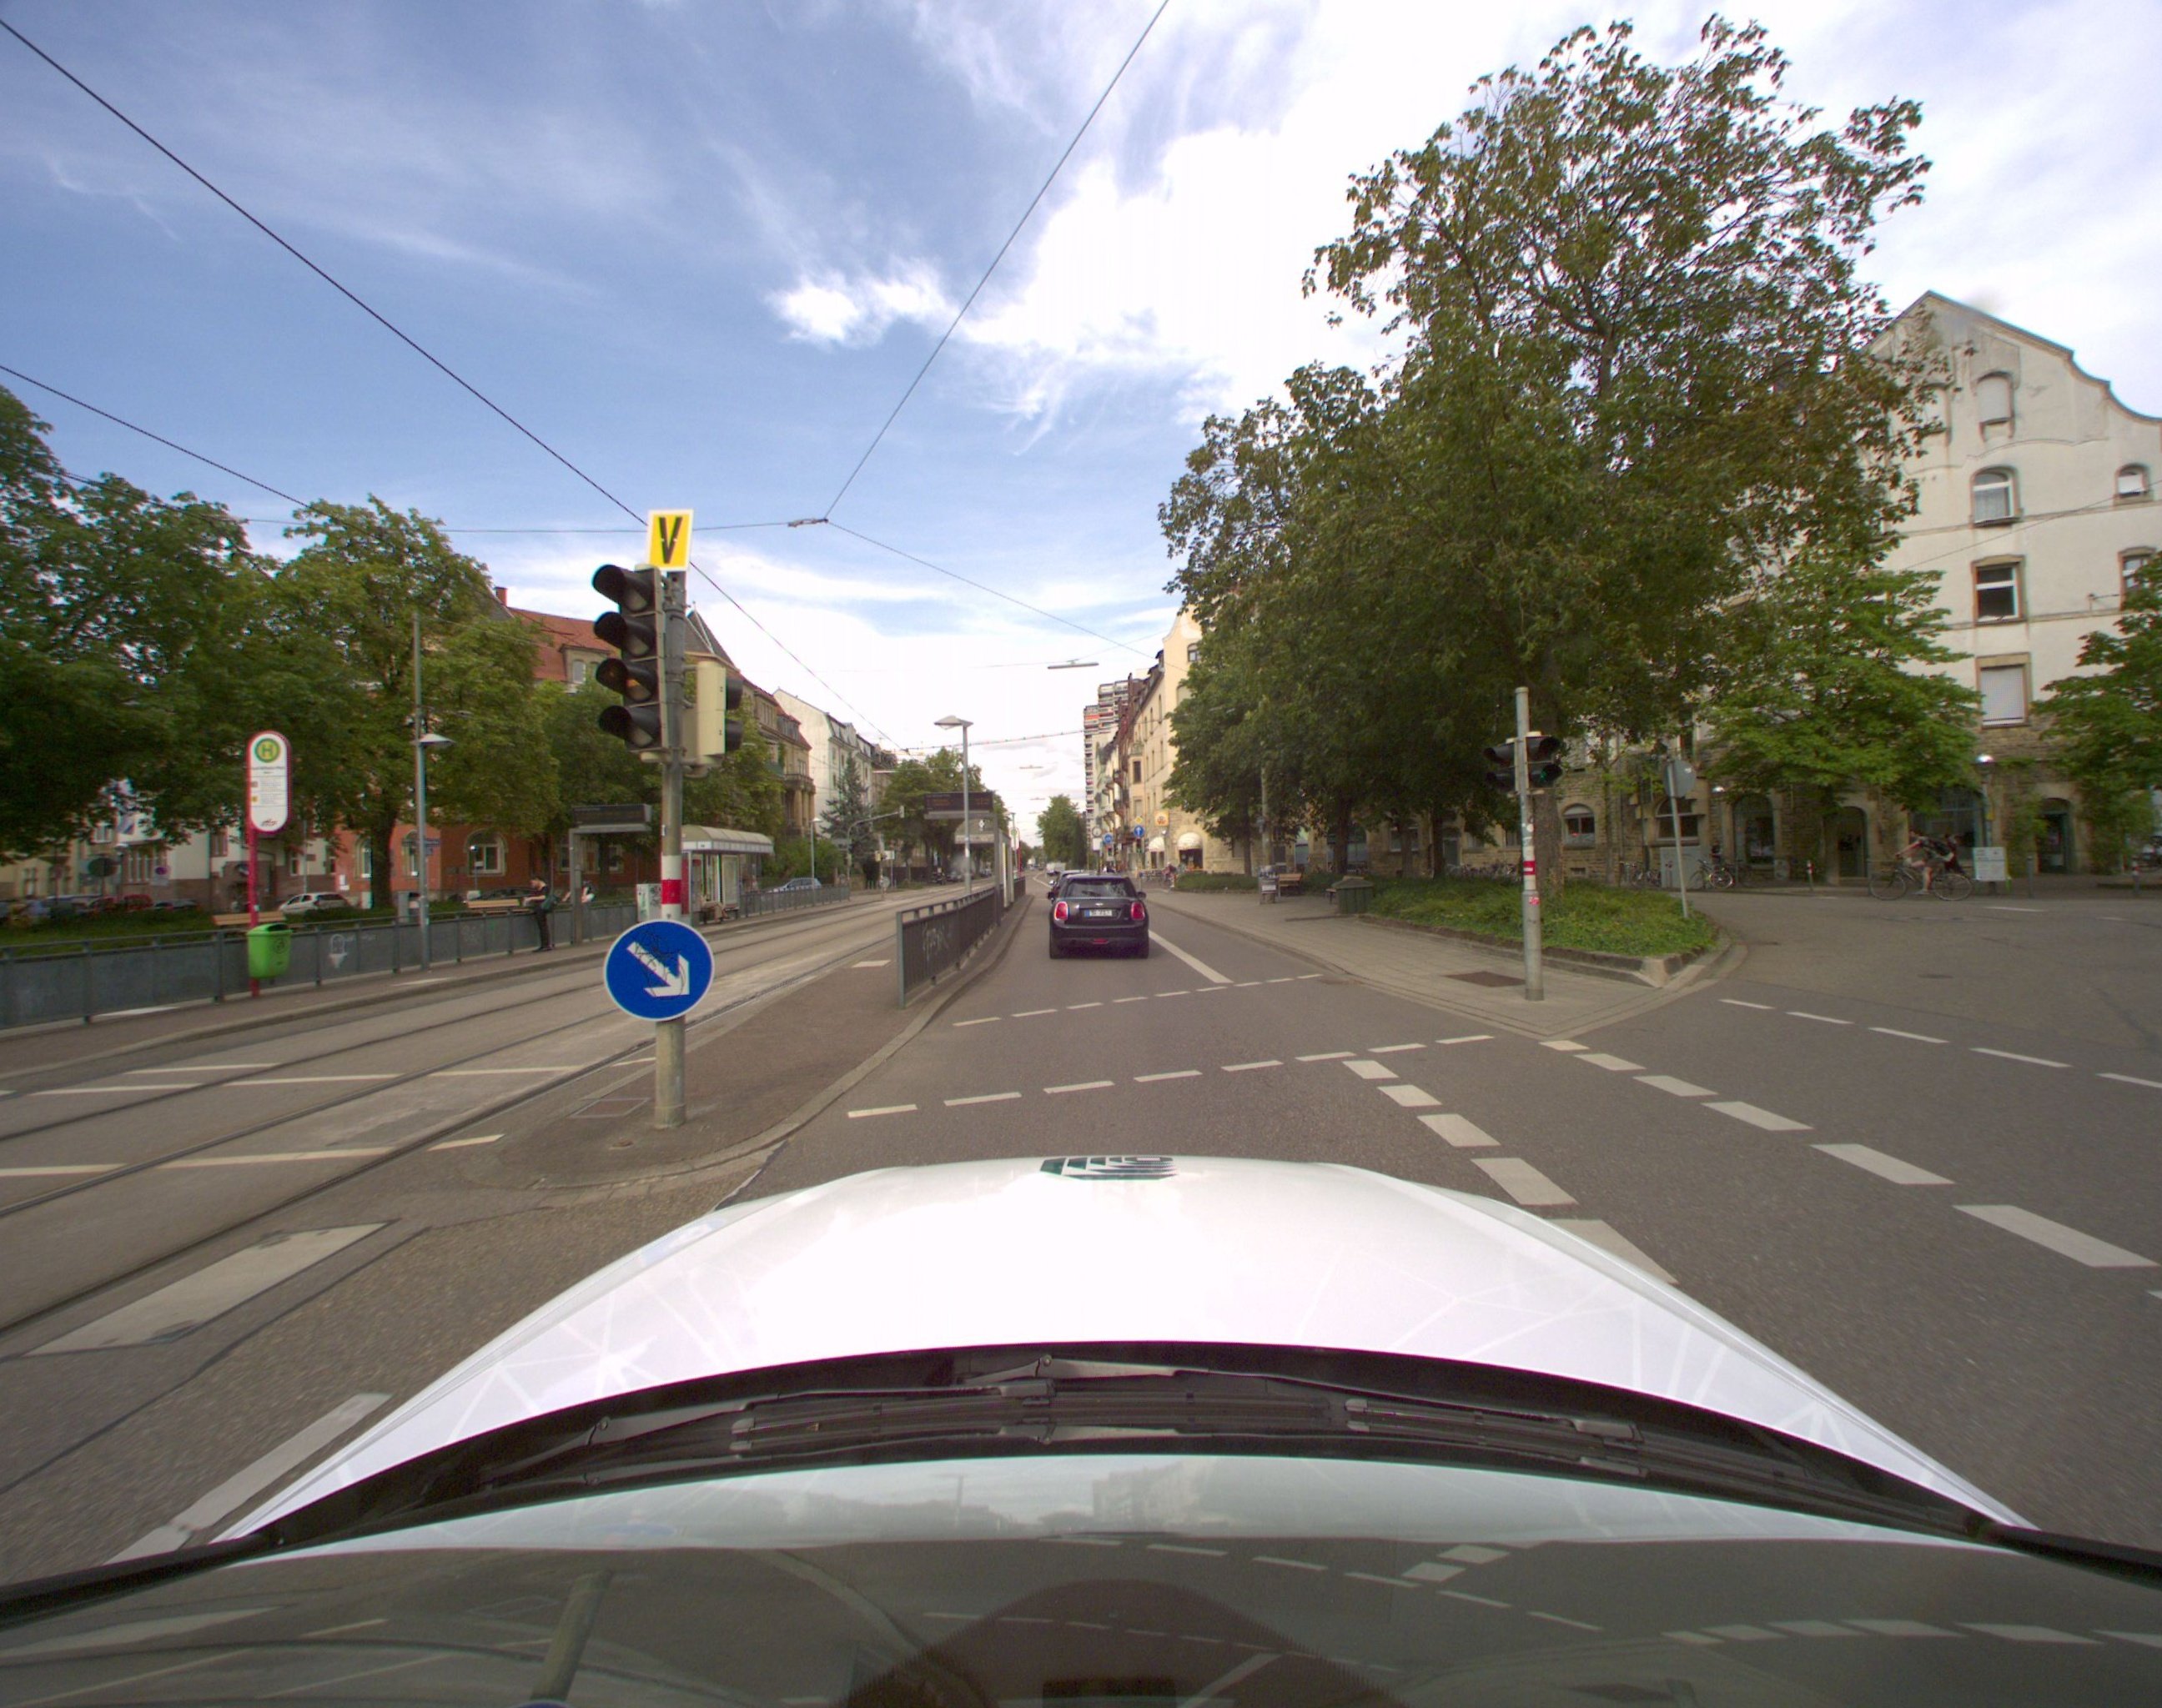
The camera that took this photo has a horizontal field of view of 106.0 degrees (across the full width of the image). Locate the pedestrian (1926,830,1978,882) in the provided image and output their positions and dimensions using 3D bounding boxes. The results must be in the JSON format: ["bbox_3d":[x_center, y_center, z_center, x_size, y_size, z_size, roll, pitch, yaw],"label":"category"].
[{"bbox_3d":[28.117,0.074,26.295,0.826,1.623,0.736,-2,-1,17],"label":"pedestrian"}]

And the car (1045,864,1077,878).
[{"bbox_3d":[-3.440,2.975,140.335,5.067,2.273,2.368,-1,-2,-43],"label":"car"}]

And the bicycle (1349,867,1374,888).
[{"bbox_3d":[15.672,1.291,45.434,0.659,1.128,1.905,-3,-2,40],"label":"bicycle"}]

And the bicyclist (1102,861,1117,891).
[{"bbox_3d":[1.463,1.143,42.462,0.682,1.564,0.998,-2,-1,0],"label":"bicyclist"}]

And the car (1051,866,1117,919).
[{"bbox_3d":[0.094,1.194,26.278,1.921,1.510,3.999,-2,-1,0],"label":"car"}]

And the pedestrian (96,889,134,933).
[{"bbox_3d":[-39.620,2.334,33.414,0.745,1.754,0.736,-3,-1,16],"label":"pedestrian"}]

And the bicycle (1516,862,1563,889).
[{"bbox_3d":[20.870,0.983,37.056,1.885,1.128,0.531,-2,-1,-6],"label":"bicycle"}]

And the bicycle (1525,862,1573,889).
[{"bbox_3d":[20.972,0.974,36.475,1.885,1.128,0.531,-2,-1,-6],"label":"bicycle"}]

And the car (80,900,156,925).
[{"bbox_3d":[-60.496,3.665,51.140,3.953,1.395,1.825,-3,-2,20],"label":"car"}]

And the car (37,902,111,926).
[{"bbox_3d":[-65.200,3.891,52.738,3.953,1.395,1.825,-3,-2,20],"label":"car"}]

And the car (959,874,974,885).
[{"bbox_3d":[-18.783,4.187,134.031,1.988,1.552,3.997,-2,-1,-2],"label":"car"}]

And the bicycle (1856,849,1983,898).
[{"bbox_3d":[20.927,0.504,20.396,2.075,1.152,0.659,-3,-1,35],"label":"bicycle"}]

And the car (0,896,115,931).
[{"bbox_3d":[-47.689,2.738,37.310,1.794,1.395,4.020,-3,-1,20],"label":"car"}]

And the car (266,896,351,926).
[{"bbox_3d":[-42.897,3.165,45.248,3.953,1.478,1.825,-3,-2,20],"label":"car"}]

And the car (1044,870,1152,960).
[{"bbox_3d":[0.291,1.028,15.195,1.746,1.441,3.999,0,-1,0],"label":"car"}]

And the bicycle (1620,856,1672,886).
[{"bbox_3d":[22.345,0.674,32.213,1.890,1.128,0.530,-2,-1,-14],"label":"bicycle"}]

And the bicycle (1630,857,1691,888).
[{"bbox_3d":[22.263,0.718,31.304,1.879,1.128,0.533,-2,-1,3],"label":"bicycle"}]

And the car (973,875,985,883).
[{"bbox_3d":[-19.620,4.818,156.955,1.988,1.552,3.997,-2,-1,-2],"label":"car"}]

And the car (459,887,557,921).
[{"bbox_3d":[-29.231,2.527,41.693,4.015,1.478,1.797,-1,-2,-33],"label":"car"}]

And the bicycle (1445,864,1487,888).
[{"bbox_3d":[19.201,1.077,40.601,1.888,1.128,0.596,-2,-1,-11],"label":"bicycle"}]

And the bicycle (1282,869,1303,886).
[{"bbox_3d":[12.639,1.388,48.752,0.526,0.972,1.659,-3,-2,40],"label":"bicycle"}]

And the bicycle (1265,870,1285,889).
[{"bbox_3d":[11.801,1.547,49.551,0.444,1.055,1.659,-3,-2,40],"label":"bicycle"}]

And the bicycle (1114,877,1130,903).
[{"bbox_3d":[1.896,1.663,37.897,0.597,1.170,1.695,-2,-1,-2],"label":"bicycle"}]

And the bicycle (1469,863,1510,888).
[{"bbox_3d":[19.833,1.034,39.567,1.893,1.128,0.578,-2,-2,-20],"label":"bicycle"}]

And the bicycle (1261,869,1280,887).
[{"bbox_3d":[11.631,1.479,49.928,0.444,1.055,1.659,-3,-2,40],"label":"bicycle"}]

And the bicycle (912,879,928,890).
[{"bbox_3d":[-17.361,3.307,87.881,1.681,1.119,0.566,-1,-2,-42],"label":"bicycle"}]

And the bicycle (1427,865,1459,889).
[{"bbox_3d":[18.608,1.163,41.870,1.901,1.128,0.527,-3,-1,-33],"label":"bicycle"}]

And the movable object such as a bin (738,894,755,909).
[{"bbox_3d":[-18.837,2.670,45.815,0.728,0.799,0.620,-2,-1,-8],"label":"movable object such as a bin"}]

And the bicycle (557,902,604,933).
[{"bbox_3d":[-16.951,2.125,27.596,0.659,0.949,1.549,-2,-1,-2],"label":"bicycle"}]

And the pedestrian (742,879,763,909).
[{"bbox_3d":[-18.621,2.258,46.186,0.868,1.633,0.743,-2,-1,-8],"label":"pedestrian"}]

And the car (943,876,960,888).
[{"bbox_3d":[-17.095,3.677,107.390,1.763,1.395,3.995,-2,-1,-3],"label":"car"}]

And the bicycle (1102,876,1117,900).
[{"bbox_3d":[1.485,1.778,42.500,0.682,1.170,1.696,-2,-1,0],"label":"bicycle"}]

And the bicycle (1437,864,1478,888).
[{"bbox_3d":[19.041,1.096,41.180,1.888,1.128,0.561,-2,-1,-11],"label":"bicycle"}]

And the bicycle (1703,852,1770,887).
[{"bbox_3d":[22.769,0.546,28.288,1.882,1.128,0.532,-2,-1,-2],"label":"bicycle"}]

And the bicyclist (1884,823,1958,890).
[{"bbox_3d":[20.972,0.067,20.363,1.124,1.606,0.650,-3,-2,35],"label":"bicyclist"}]

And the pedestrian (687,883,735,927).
[{"bbox_3d":[-11.444,1.555,25.211,1.058,1.294,0.983,-2,-2,-8],"label":"pedestrian"}]

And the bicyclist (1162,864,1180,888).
[{"bbox_3d":[5.670,1.356,51.214,0.904,1.473,0.620,-3,-1,20],"label":"bicyclist"}]

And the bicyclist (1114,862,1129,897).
[{"bbox_3d":[1.882,1.180,37.905,0.593,1.550,1.013,-2,-1,-2],"label":"bicyclist"}]

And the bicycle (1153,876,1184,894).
[{"bbox_3d":[5.528,1.961,51.257,1.799,1.077,0.620,-3,-1,20],"label":"bicycle"}]

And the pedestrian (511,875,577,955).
[{"bbox_3d":[-11.344,1.262,17.245,0.851,1.621,0.841,-2,-2,-8],"label":"pedestrian"}]

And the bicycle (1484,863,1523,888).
[{"bbox_3d":[20.159,1.009,38.823,1.897,1.128,0.590,-1,-2,-25],"label":"bicycle"}]

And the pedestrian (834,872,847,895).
[{"bbox_3d":[-18.963,2.347,64.287,0.728,1.784,0.834,-2,-1,-2],"label":"pedestrian"}]

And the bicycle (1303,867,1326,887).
[{"bbox_3d":[13.629,1.330,47.435,0.526,1.128,1.905,-3,-2,40],"label":"bicycle"}]

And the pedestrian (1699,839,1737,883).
[{"bbox_3d":[24.809,0.263,31.710,0.730,1.676,0.833,-2,-1,-9],"label":"pedestrian"}]

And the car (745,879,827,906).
[{"bbox_3d":[-18.836,2.447,52.139,2.183,1.578,4.375,-3,-2,38],"label":"car"}]

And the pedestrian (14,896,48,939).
[{"bbox_3d":[-44.942,2.714,34.854,0.724,1.754,0.686,-3,-1,18],"label":"pedestrian"}]

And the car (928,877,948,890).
[{"bbox_3d":[-16.768,3.409,95.381,1.763,1.395,3.995,-2,-1,-3],"label":"car"}]

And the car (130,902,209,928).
[{"bbox_3d":[-55.290,3.708,49.411,3.953,1.395,1.825,-3,-2,20],"label":"car"}]

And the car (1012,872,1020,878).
[{"bbox_3d":[-16.637,5.357,207.691,1.763,1.395,3.995,-2,-1,-3],"label":"car"}]

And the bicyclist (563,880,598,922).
[{"bbox_3d":[-16.973,1.582,27.609,0.659,1.339,0.835,-2,-2,-2],"label":"bicyclist"}]

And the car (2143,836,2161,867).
[{"bbox_3d":[49.764,-0.157,35.830,1.752,1.395,4.019,-2,-1,19],"label":"car"}]

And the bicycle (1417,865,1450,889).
[{"bbox_3d":[18.334,1.189,42.342,1.901,1.128,0.527,-2,-1,-33],"label":"bicycle"}]

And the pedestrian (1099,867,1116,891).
[{"bbox_3d":[1.942,1.833,60.252,0.723,1.674,0.840,-6,-1,44],"label":"pedestrian"}]
